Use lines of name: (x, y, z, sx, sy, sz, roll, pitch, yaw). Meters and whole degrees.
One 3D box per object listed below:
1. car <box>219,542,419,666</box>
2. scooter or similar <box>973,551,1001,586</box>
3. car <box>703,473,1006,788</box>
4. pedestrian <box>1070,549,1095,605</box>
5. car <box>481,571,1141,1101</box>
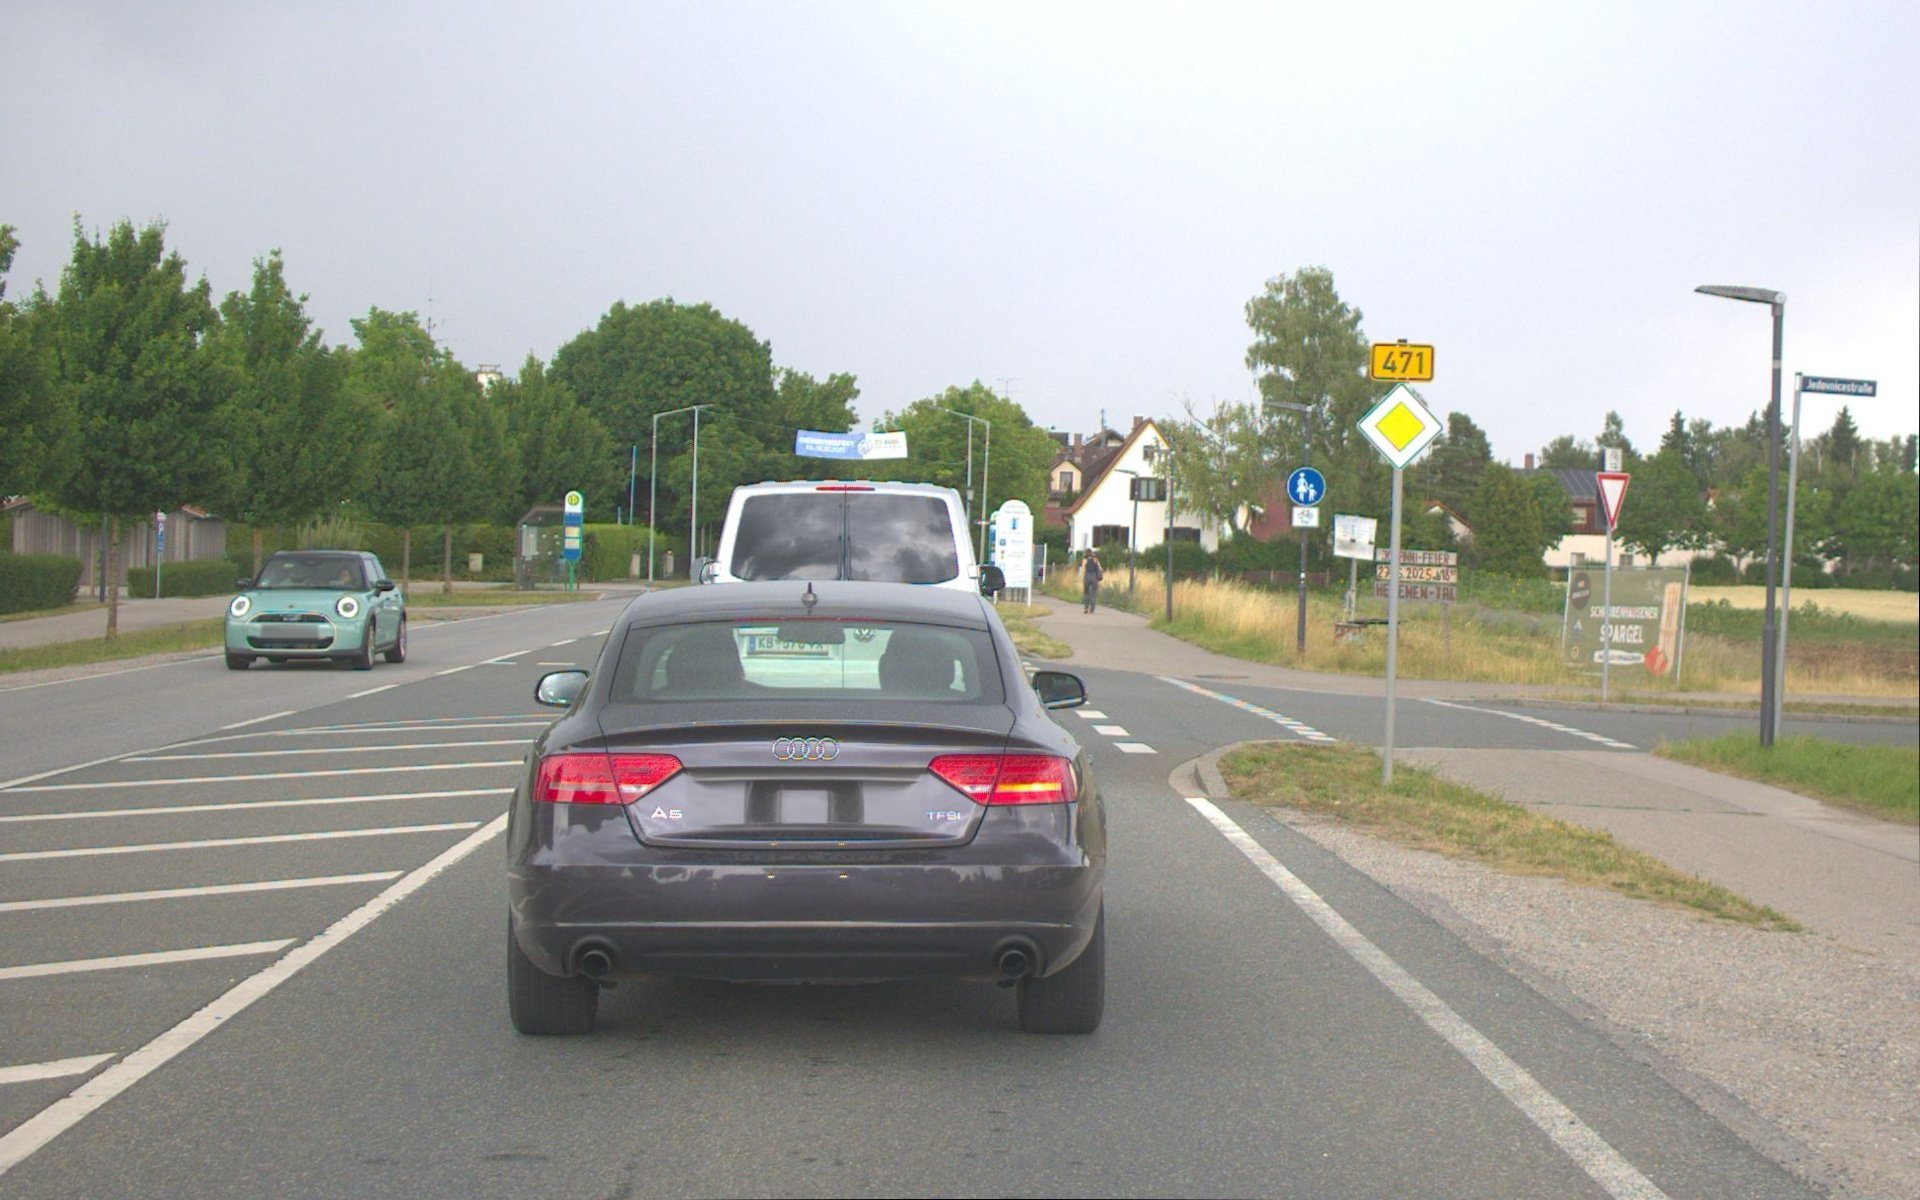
car: (-7.851, 0.009, 42.423, 1.770, 1.438, 4.000, 0, 1, -1)
scooter or similar: (0.856, -1.009, 109.566, 0.848, 1.100, 1.094, 0, 1, 0)
car: (-0.747, 0.150, 23.675, 1.825, 1.907, 4.001, 3, 1, -2)
pedestrian: (3.303, -0.627, 92.777, 0.623, 1.519, 0.680, 0, 1, -1)
car: (-0.603, 0.632, 11.729, 1.825, 1.384, 4.388, 0, 1, -5)
